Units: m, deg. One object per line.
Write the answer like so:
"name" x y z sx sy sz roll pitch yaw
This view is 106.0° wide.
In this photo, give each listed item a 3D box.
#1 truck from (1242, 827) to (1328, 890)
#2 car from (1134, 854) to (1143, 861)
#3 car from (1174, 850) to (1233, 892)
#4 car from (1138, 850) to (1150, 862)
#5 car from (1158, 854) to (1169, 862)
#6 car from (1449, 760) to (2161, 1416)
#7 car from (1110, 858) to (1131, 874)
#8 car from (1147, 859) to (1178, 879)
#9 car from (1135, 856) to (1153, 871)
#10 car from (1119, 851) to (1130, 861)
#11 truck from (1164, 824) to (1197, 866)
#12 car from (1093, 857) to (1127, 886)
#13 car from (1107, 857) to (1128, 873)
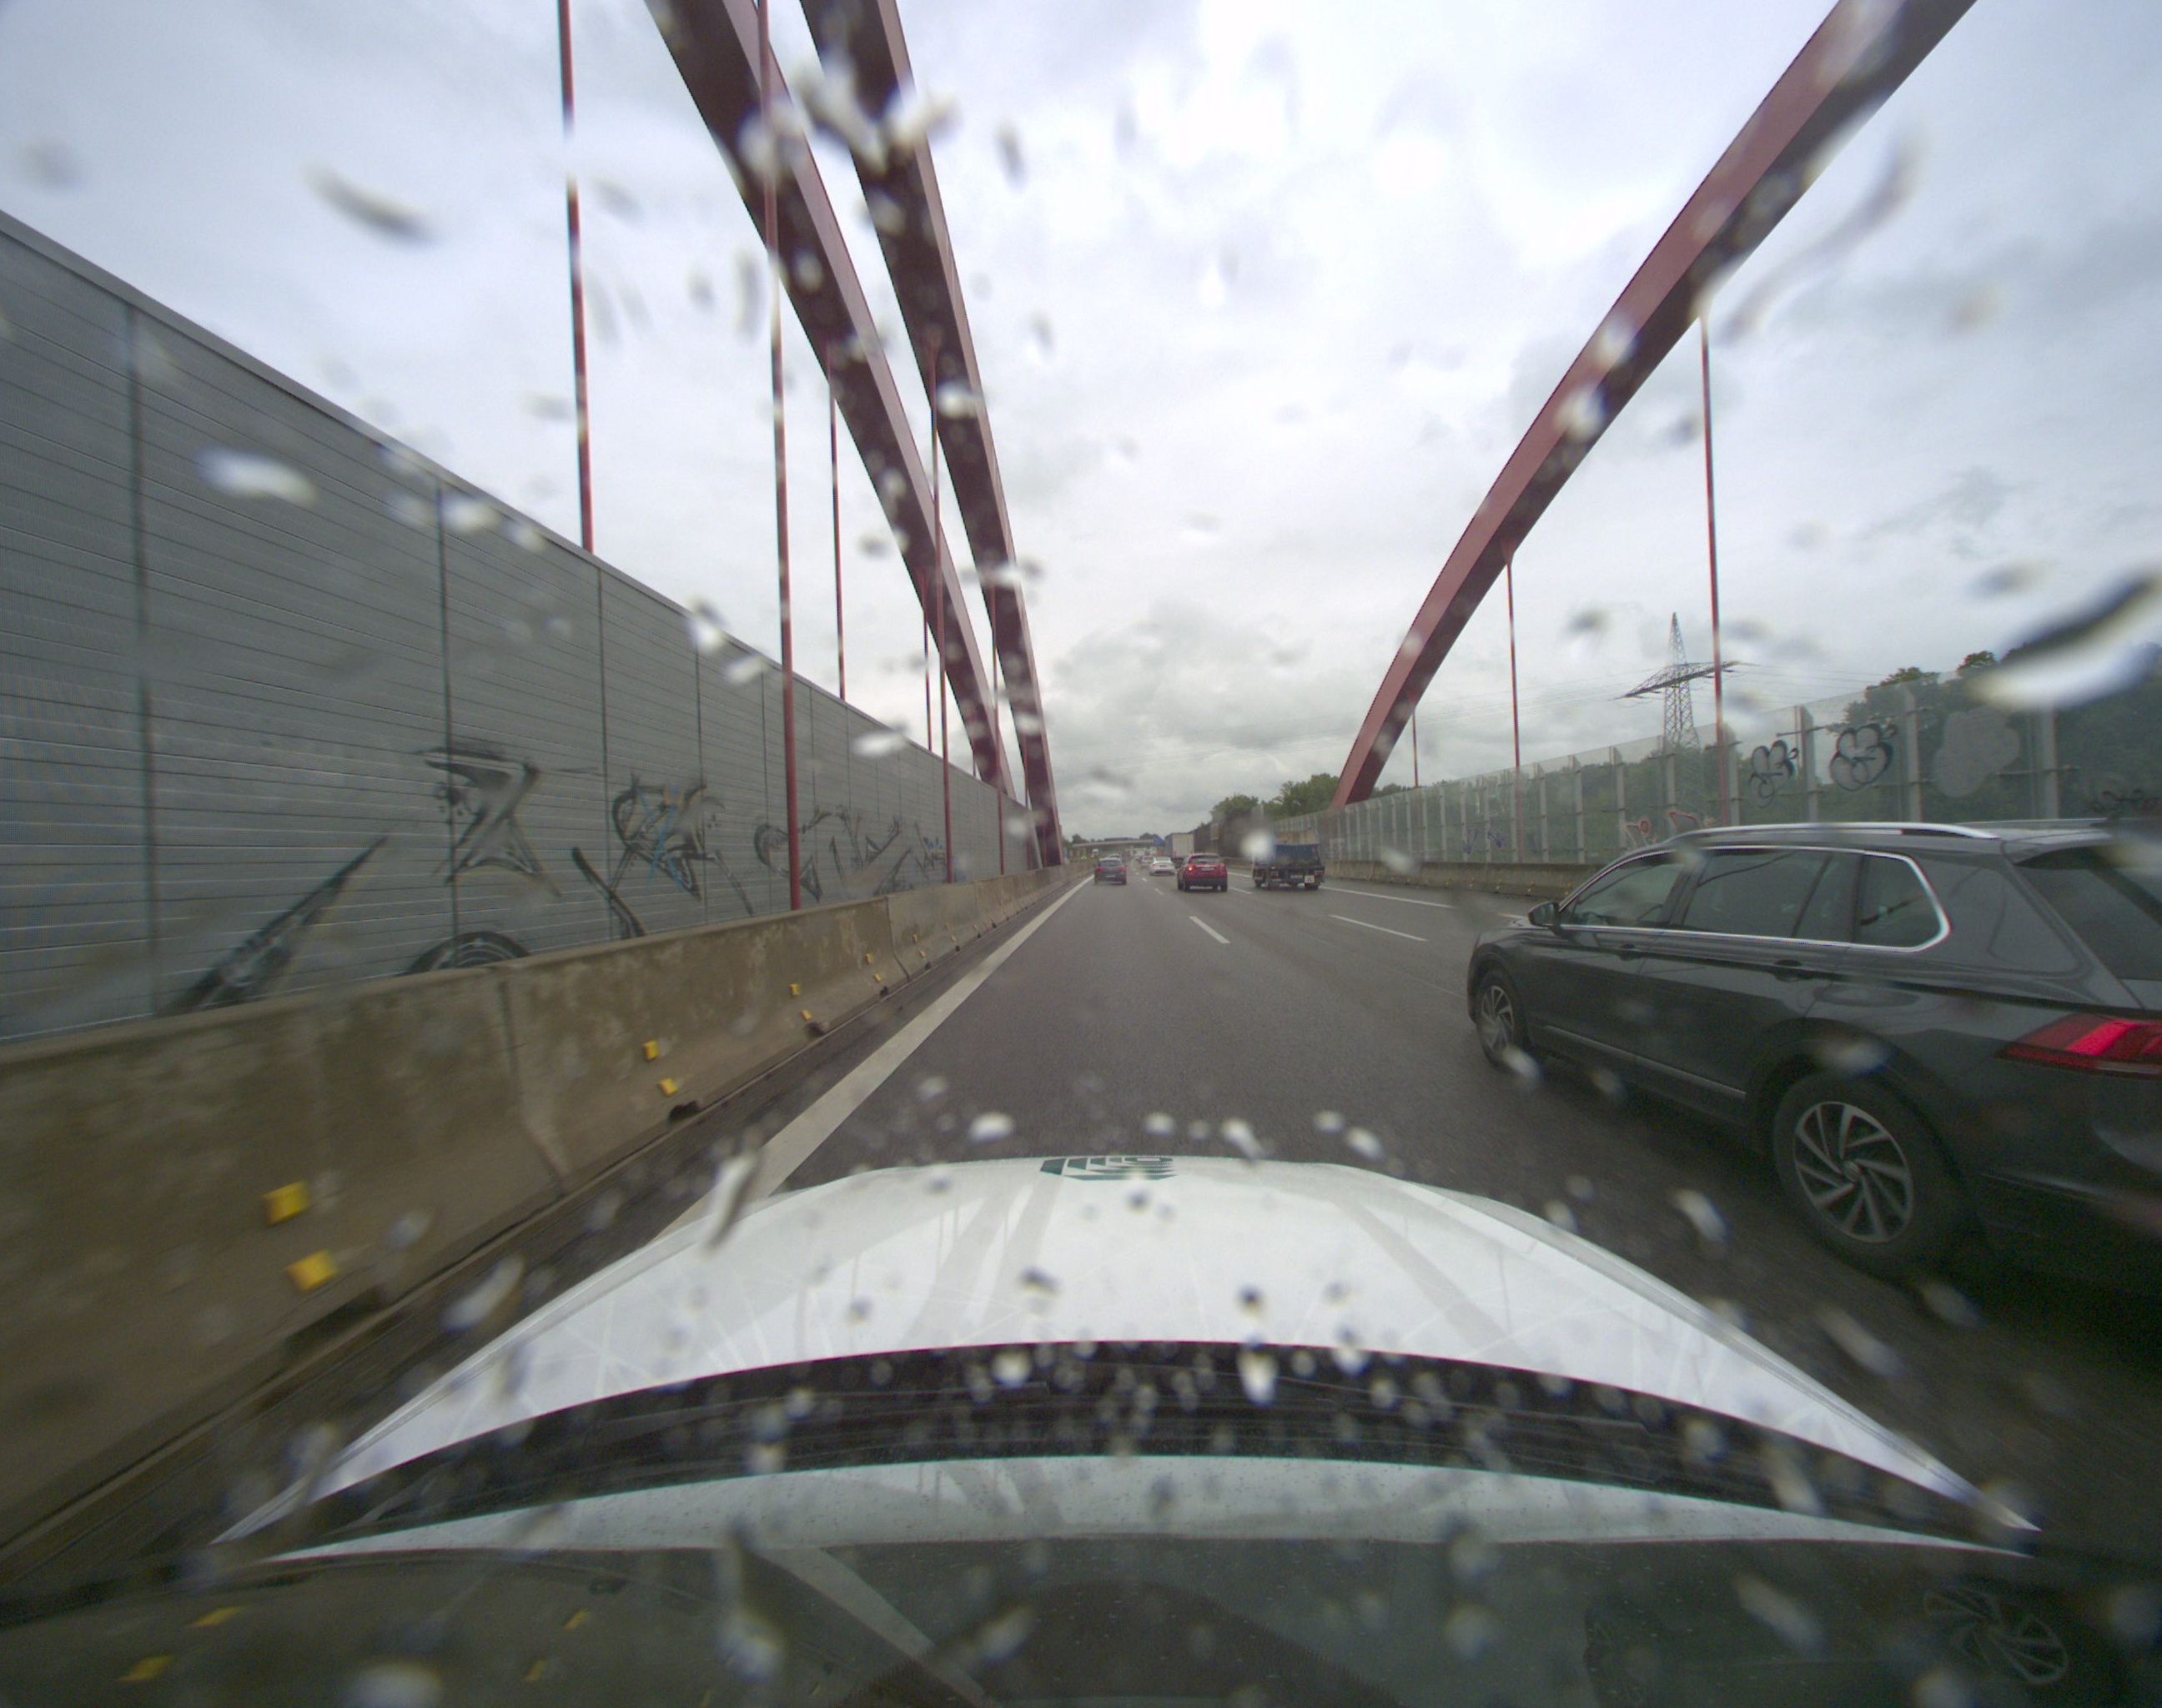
"truck" 8.808 0.169 35.747 2.352 2.506 6.146 -1 0 1
"car" 14.056 0.803 199.613 1.985 1.519 4.003 -1 0 2
"car" 5.157 0.681 34.697 1.950 1.647 4.001 -1 0 1
"car" 11.124 0.378 144.483 1.986 2.014 4.001 0 0 1
"car" 16.232 0.763 160.449 1.985 1.519 4.002 -1 0 2
"car" 3.704 0.584 4.041 1.905 1.670 4.103 -1 0 0
"car" 4.307 1.331 89.186 1.987 1.585 4.000 -2 0 0
"car" 6.277 1.130 63.243 1.987 1.486 4.000 -1 0 0
"car" 7.000 1.015 90.576 1.697 1.543 3.838 -1 0 0
"car" 8.168 0.359 153.941 1.986 1.815 4.001 -1 0 1
"truck" 11.629 -0.963 95.776 3.033 4.734 7.682 0 0 1
"car" 1.591 0.915 44.535 1.757 1.453 4.001 -1 0 2
"car" 3.400 0.979 75.848 1.776 1.406 3.626 -1 0 1
